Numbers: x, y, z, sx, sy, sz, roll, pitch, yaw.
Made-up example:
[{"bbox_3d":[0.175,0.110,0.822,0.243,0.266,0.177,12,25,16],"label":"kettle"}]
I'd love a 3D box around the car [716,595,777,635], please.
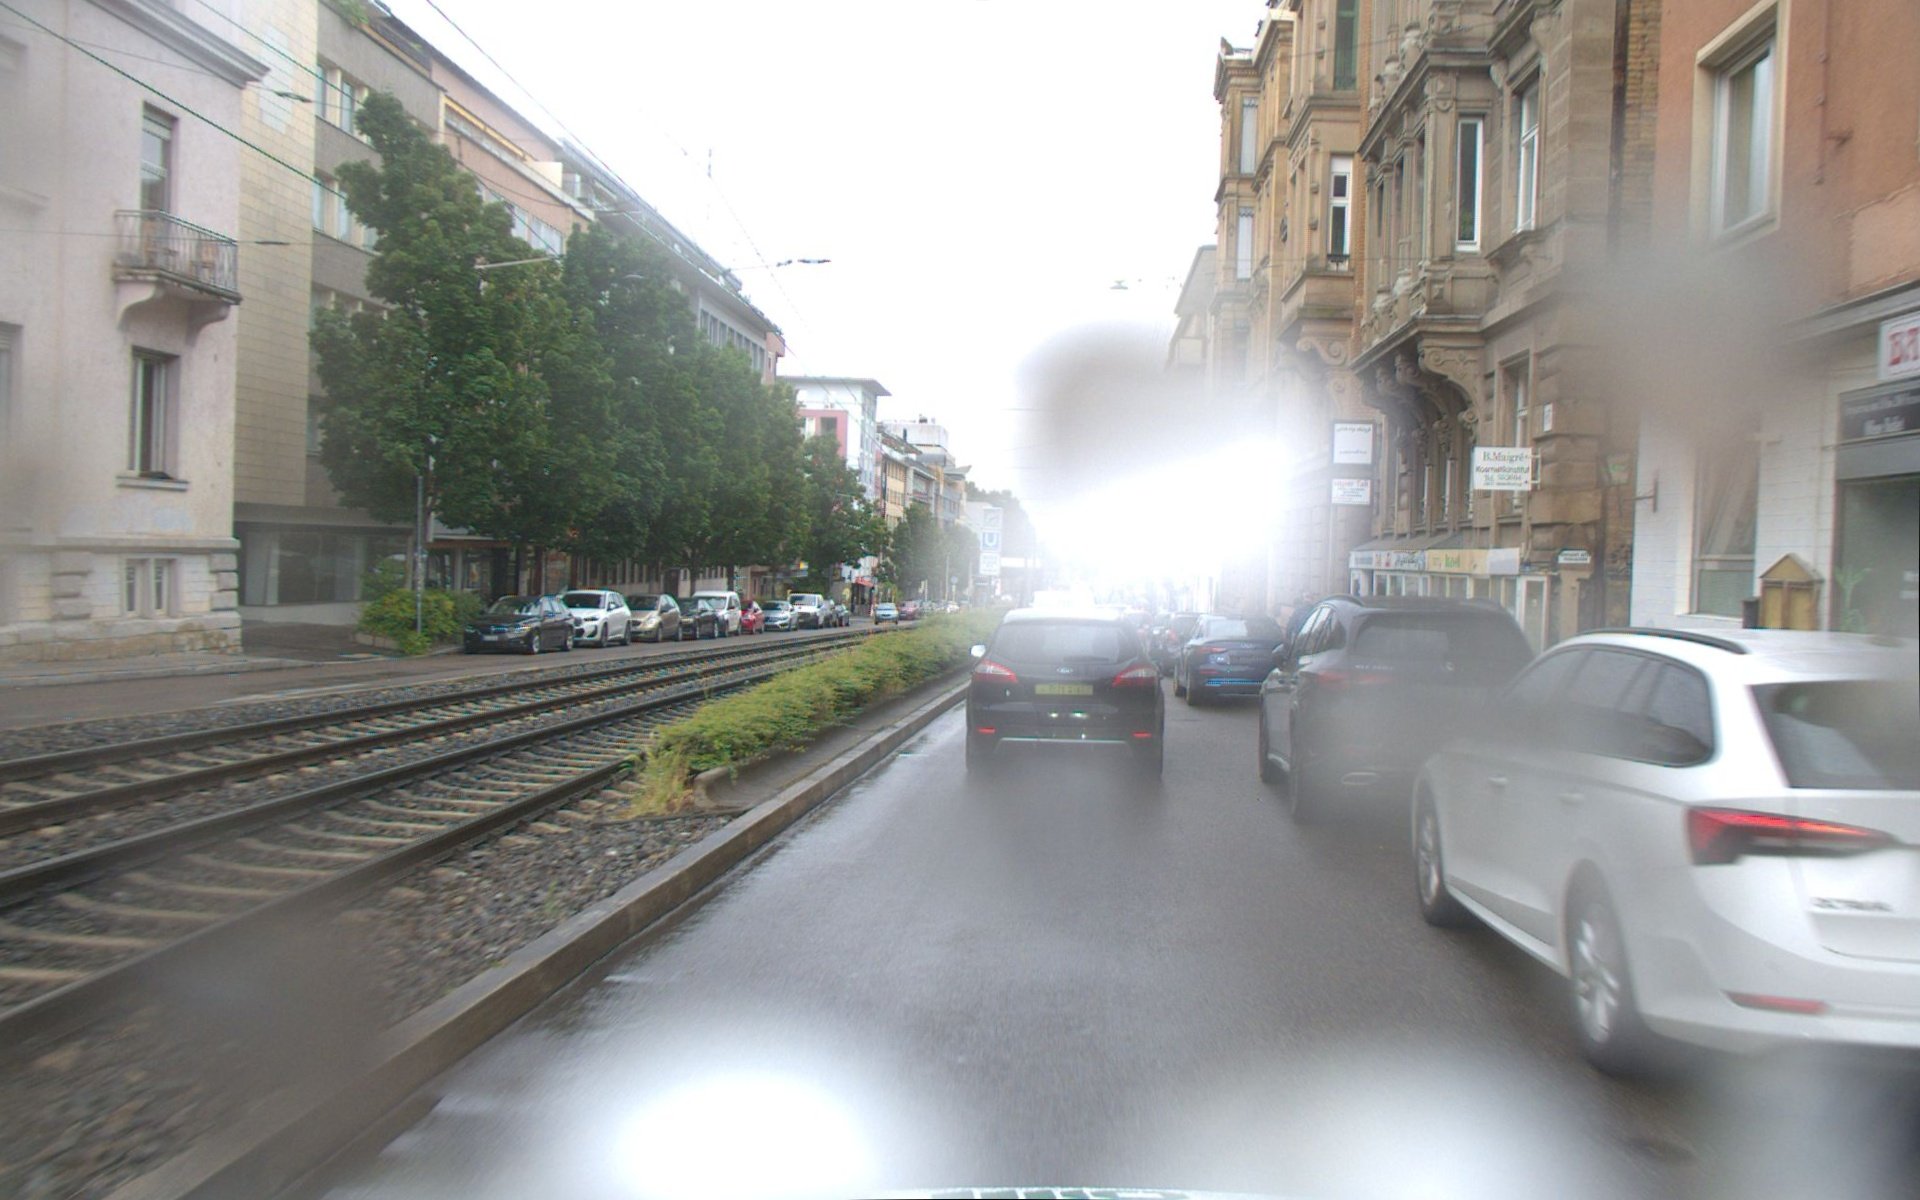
[{"bbox_3d":[-9.296,0.679,72.312,1.816,1.553,4.047,3,-2,4],"label":"car"}]

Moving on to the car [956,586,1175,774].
[{"bbox_3d":[0.957,0.714,15.862,1.804,1.533,4.001,1,-1,2],"label":"car"}]

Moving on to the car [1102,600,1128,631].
[{"bbox_3d":[10.409,1.043,111.336,1.558,1.812,3.780,4,-2,5],"label":"car"}]

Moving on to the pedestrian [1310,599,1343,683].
[{"bbox_3d":[7.171,0.809,32.363,0.508,1.607,0.677,-1,-3,4],"label":"pedestrian"}]

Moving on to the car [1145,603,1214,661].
[{"bbox_3d":[5.939,0.871,45.019,1.544,1.485,3.822,1,-1,3],"label":"car"}]

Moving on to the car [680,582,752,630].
[{"bbox_3d":[-9.723,0.271,66.260,1.816,1.731,4.433,3,-2,4],"label":"car"}]

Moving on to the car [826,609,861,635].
[{"bbox_3d":[-7.109,1.369,101.305,1.518,1.419,4.047,3,-2,4],"label":"car"}]

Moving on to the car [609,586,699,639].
[{"bbox_3d":[-10.172,0.459,55.332,1.816,1.576,4.433,3,-2,4],"label":"car"}]

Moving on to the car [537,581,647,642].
[{"bbox_3d":[-10.841,0.377,49.111,1.816,1.576,4.722,3,-2,4],"label":"car"}]

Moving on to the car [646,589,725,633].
[{"bbox_3d":[-9.932,0.425,60.195,1.816,1.443,4.433,0,-2,4],"label":"car"}]

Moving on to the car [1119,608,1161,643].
[{"bbox_3d":[7.885,1.113,72.690,1.635,1.446,3.477,1,-1,4],"label":"car"}]

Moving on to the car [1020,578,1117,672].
[{"bbox_3d":[2.721,0.582,40.489,1.946,2.096,4.648,2,0,8],"label":"car"}]

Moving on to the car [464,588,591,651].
[{"bbox_3d":[-11.115,0.541,42.813,1.658,1.402,4.722,3,-2,4],"label":"car"}]

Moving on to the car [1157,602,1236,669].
[{"bbox_3d":[5.609,0.848,39.507,1.615,1.485,3.478,1,-1,4],"label":"car"}]

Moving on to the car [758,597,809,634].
[{"bbox_3d":[-8.419,0.756,79.084,1.633,1.585,4.047,3,-2,4],"label":"car"}]

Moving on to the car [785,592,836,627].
[{"bbox_3d":[-7.975,0.546,88.700,1.816,1.665,4.937,3,-2,4],"label":"car"}]

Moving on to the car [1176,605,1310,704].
[{"bbox_3d":[4.587,0.898,27.312,1.754,1.431,4.259,2,-2,4],"label":"car"}]

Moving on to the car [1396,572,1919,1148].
[{"bbox_3d":[3.052,0.757,6.551,1.764,1.481,4.588,1,-2,5],"label":"car"}]

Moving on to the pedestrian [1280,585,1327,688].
[{"bbox_3d":[6.276,0.656,30.242,0.688,1.851,0.962,-1,0,4],"label":"pedestrian"}]

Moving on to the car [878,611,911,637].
[{"bbox_3d":[-4.648,1.751,118.359,1.816,1.665,4.047,3,-2,4],"label":"car"}]

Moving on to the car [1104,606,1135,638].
[{"bbox_3d":[10.159,1.416,105.416,1.800,1.812,3.780,4,-2,5],"label":"car"}]

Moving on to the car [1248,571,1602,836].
[{"bbox_3d":[3.442,0.745,13.120,1.806,1.661,4.588,2,-2,5],"label":"car"}]
